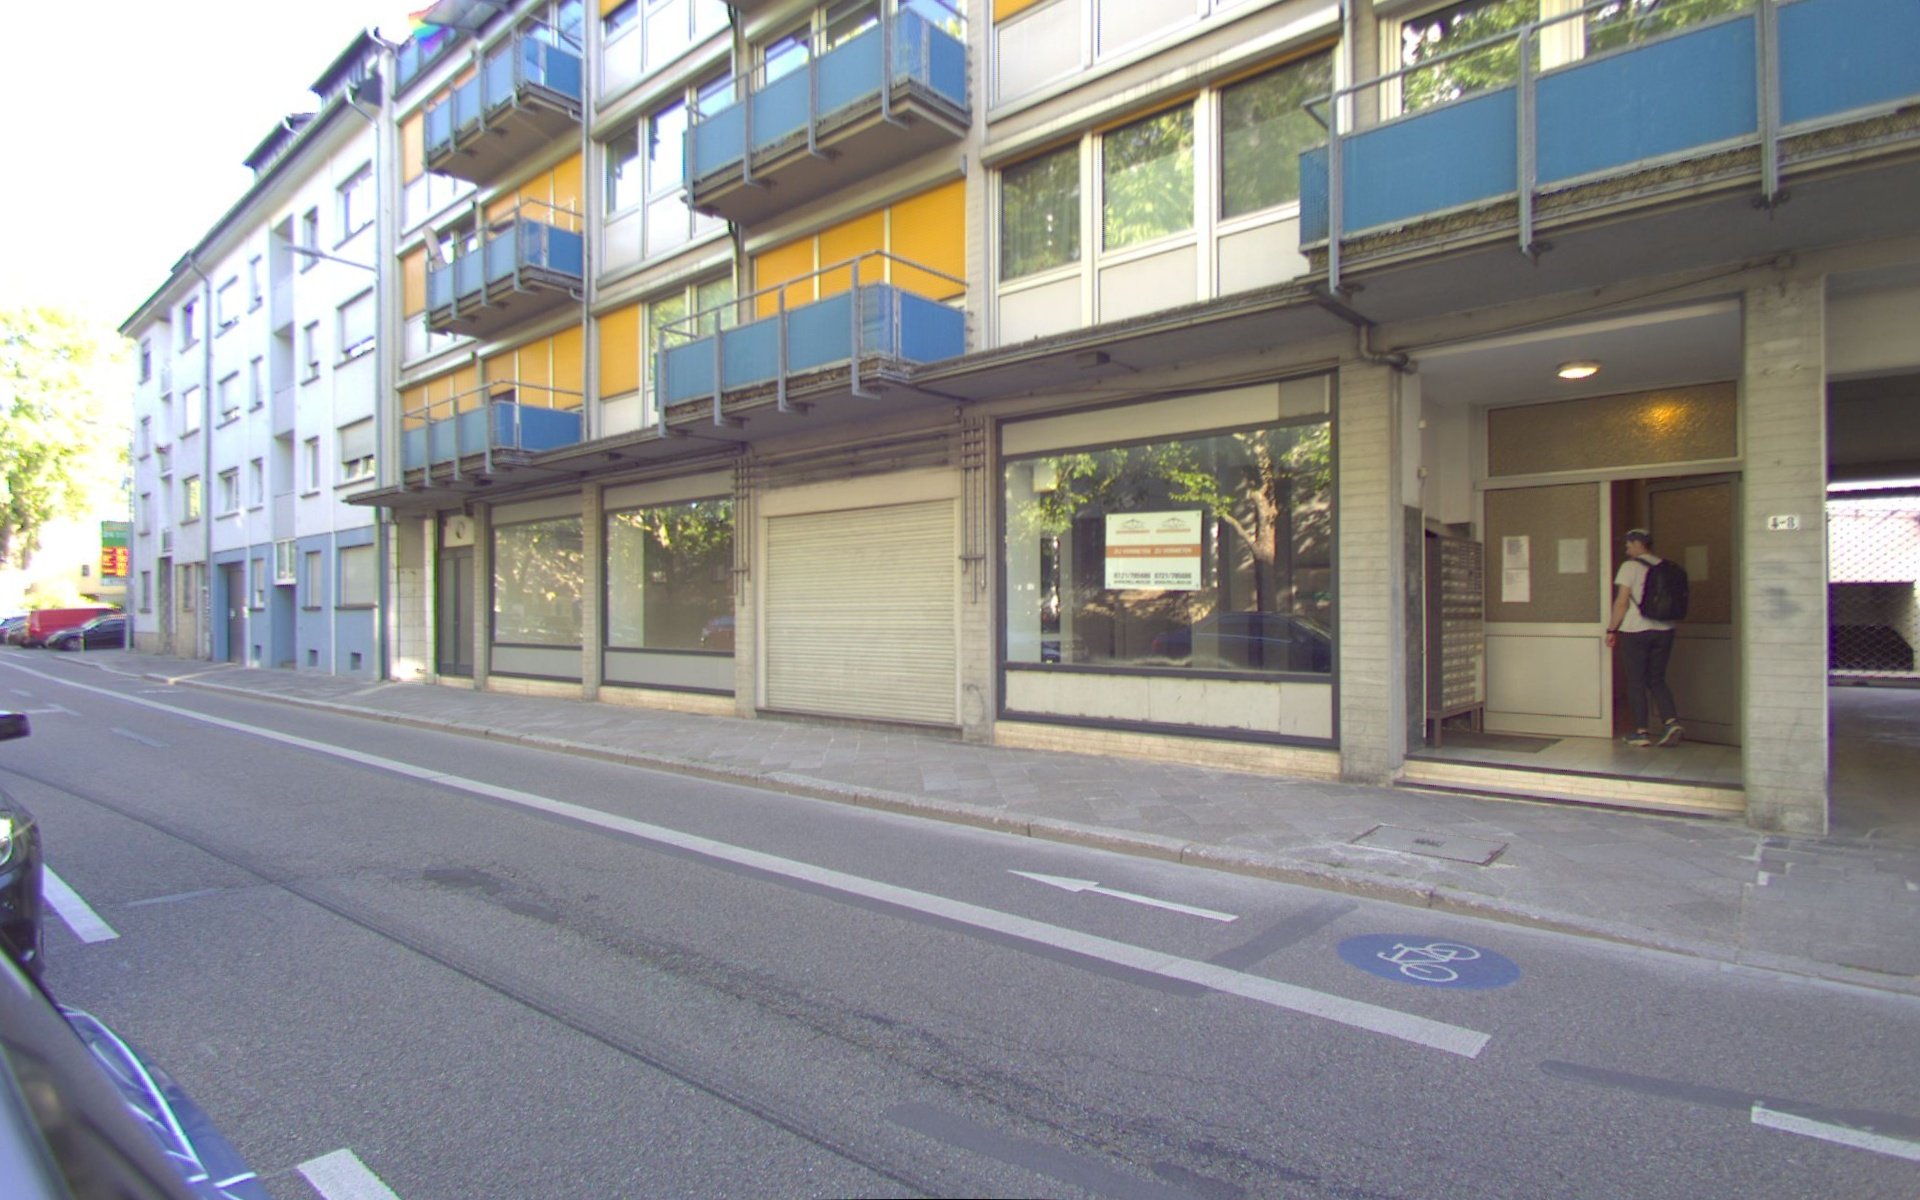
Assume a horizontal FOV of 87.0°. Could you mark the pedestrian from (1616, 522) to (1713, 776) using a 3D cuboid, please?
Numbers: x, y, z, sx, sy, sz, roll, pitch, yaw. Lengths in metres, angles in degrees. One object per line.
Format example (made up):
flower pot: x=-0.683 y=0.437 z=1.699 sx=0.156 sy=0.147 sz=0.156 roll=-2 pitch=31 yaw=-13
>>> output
pedestrian: x=5.766 y=0.382 z=8.279 sx=0.584 sy=1.973 sz=0.603 roll=-1 pitch=0 yaw=40

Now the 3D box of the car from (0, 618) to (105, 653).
car: x=-46.058 y=1.782 z=51.406 sx=1.603 sy=1.598 sz=3.854 roll=-1 pitch=0 yaw=42

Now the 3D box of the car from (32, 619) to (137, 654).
car: x=-41.518 y=1.703 z=48.050 sx=1.602 sy=1.521 sz=3.620 roll=-1 pitch=0 yaw=42

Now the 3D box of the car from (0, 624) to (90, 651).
car: x=-51.854 y=2.098 z=57.223 sx=1.594 sy=1.385 sz=3.854 roll=-1 pitch=0 yaw=42

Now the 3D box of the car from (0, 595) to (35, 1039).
car: x=-5.434 y=0.767 z=4.213 sx=4.291 sy=1.515 sz=1.805 roll=-1 pitch=0 yaw=40

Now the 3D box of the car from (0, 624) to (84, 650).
car: x=-53.368 y=2.118 z=58.562 sx=1.594 sy=1.385 sz=3.854 roll=-1 pitch=0 yaw=42

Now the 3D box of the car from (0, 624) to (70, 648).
car: x=-57.191 y=2.202 z=62.002 sx=1.525 sy=1.343 sz=3.854 roll=-1 pitch=0 yaw=42

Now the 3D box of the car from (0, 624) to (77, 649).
car: x=-55.384 y=2.179 z=60.441 sx=1.525 sy=1.343 sz=3.854 roll=-1 pitch=0 yaw=42

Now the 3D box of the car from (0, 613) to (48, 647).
car: x=-62.719 y=1.969 z=66.590 sx=1.725 sy=2.193 sz=3.854 roll=-1 pitch=0 yaw=42

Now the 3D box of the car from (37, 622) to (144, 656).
car: x=-39.800 y=1.748 z=46.354 sx=1.534 sy=1.420 sz=3.551 roll=-2 pitch=-1 yaw=42

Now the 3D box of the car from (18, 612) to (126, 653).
car: x=-43.711 y=1.567 z=49.867 sx=1.749 sy=1.921 sz=3.854 roll=-1 pitch=-1 yaw=42

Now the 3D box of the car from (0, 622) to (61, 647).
car: x=-59.220 y=2.191 z=63.760 sx=1.539 sy=1.451 sz=3.733 roll=-1 pitch=0 yaw=42
